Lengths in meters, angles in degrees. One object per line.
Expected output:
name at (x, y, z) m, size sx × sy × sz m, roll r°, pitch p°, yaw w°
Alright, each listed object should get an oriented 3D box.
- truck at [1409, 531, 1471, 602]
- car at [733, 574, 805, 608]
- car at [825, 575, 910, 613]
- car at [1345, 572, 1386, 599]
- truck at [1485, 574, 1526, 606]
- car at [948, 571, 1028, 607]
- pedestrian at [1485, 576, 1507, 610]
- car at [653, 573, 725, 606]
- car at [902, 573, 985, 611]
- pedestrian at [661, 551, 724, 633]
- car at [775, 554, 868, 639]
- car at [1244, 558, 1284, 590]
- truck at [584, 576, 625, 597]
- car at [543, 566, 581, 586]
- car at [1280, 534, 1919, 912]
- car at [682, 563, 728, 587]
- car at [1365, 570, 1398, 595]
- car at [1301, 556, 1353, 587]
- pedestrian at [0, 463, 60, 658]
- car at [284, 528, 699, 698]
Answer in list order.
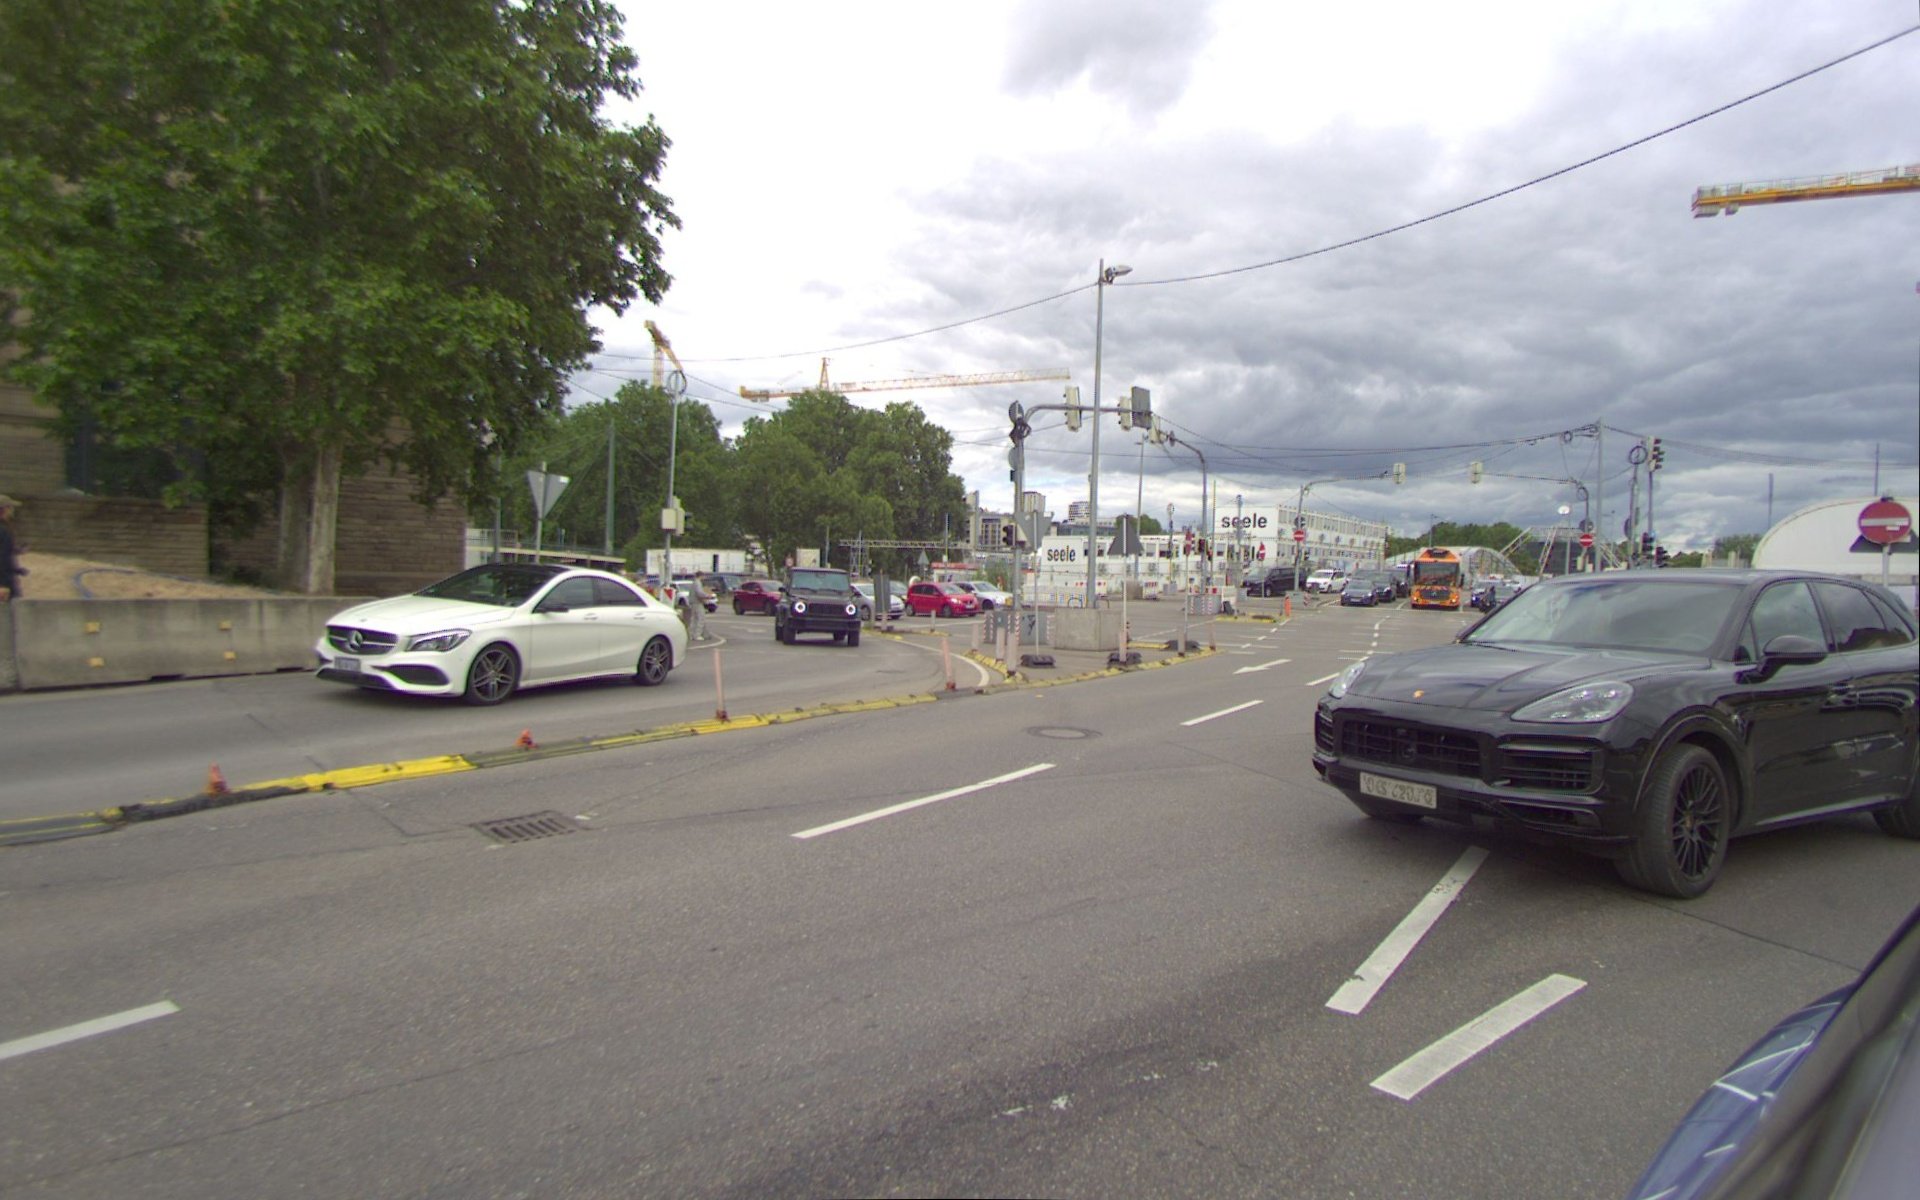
truck at (27.676, -1.958, 58.214) m, size 2.883 × 3.719 × 8.946 m, roll 3°, pitch 3°, yaw 26°
car at (-8.879, -0.411, 46.909) m, size 1.638 × 1.453 × 3.438 m, roll 1°, pitch 1°, yaw -45°
car at (-3.840, -0.280, 41.762) m, size 1.639 × 1.453 × 3.437 m, roll -3°, pitch 3°, yaw -45°
car at (23.326, -0.855, 58.144) m, size 1.770 × 1.453 × 4.030 m, roll 3°, pitch 2°, yaw 27°
truck at (29.242, -0.552, 54.338) m, size 1.810 × 1.559 × 3.724 m, roll 3°, pitch 2°, yaw 28°
car at (1.231, -0.514, 45.229) m, size 1.666 × 1.453 × 3.440 m, roll -3°, pitch 4°, yaw -43°
pedestrian at (25.903, -0.350, 48.926) m, size 0.842 × 1.612 × 0.618 m, roll 1°, pitch 2°, yaw 25°
car at (-13.986, -0.590, 52.071) m, size 3.988 × 1.587 × 1.810 m, roll 2°, pitch 3°, yaw 44°
car at (-0.732, -0.384, 43.092) m, size 1.663 × 1.453 × 3.440 m, roll -2°, pitch 4°, yaw -43°
pedestrian at (-6.836, -0.223, 25.888) m, size 1.183 × 2.038 × 1.192 m, roll 1°, pitch 1°, yaw 7°
car at (-3.500, -0.086, 26.136) m, size 1.901 × 1.962 × 3.674 m, roll 3°, pitch 0°, yaw -1°
car at (20.414, -1.727, 67.856) m, size 1.980 × 2.038 × 3.965 m, roll 3°, pitch 2°, yaw 25°
truck at (-32.157, -1.254, 91.589) m, size 4.002 × 1.702 × 1.910 m, roll 4°, pitch 3°, yaw 44°
car at (-35.381, -2.121, 89.959) m, size 3.630 × 1.708 × 1.737 m, roll 2°, pitch 2°, yaw 43°
car at (4.434, 0.552, 6.338) m, size 4.513 × 1.668 × 1.960 m, roll 1°, pitch 0°, yaw -26°
car at (-19.068, -1.872, 75.652) m, size 1.910 × 1.688 × 3.638 m, roll 0°, pitch 2°, yaw -40°
car at (26.394, -1.105, 63.306) m, size 1.636 × 1.453 × 3.585 m, roll 2°, pitch 2°, yaw 27°
car at (26.276, -2.000, 72.377) m, size 1.994 × 2.038 × 4.099 m, roll 4°, pitch 2°, yaw 43°
pedestrian at (-10.323, -0.420, 10.815) m, size 0.614 × 2.038 × 0.847 m, roll 1°, pitch 1°, yaw 14°
car at (-4.928, 0.099, 11.436) m, size 1.718 × 1.453 × 4.355 m, roll 4°, pitch 1°, yaw 18°
